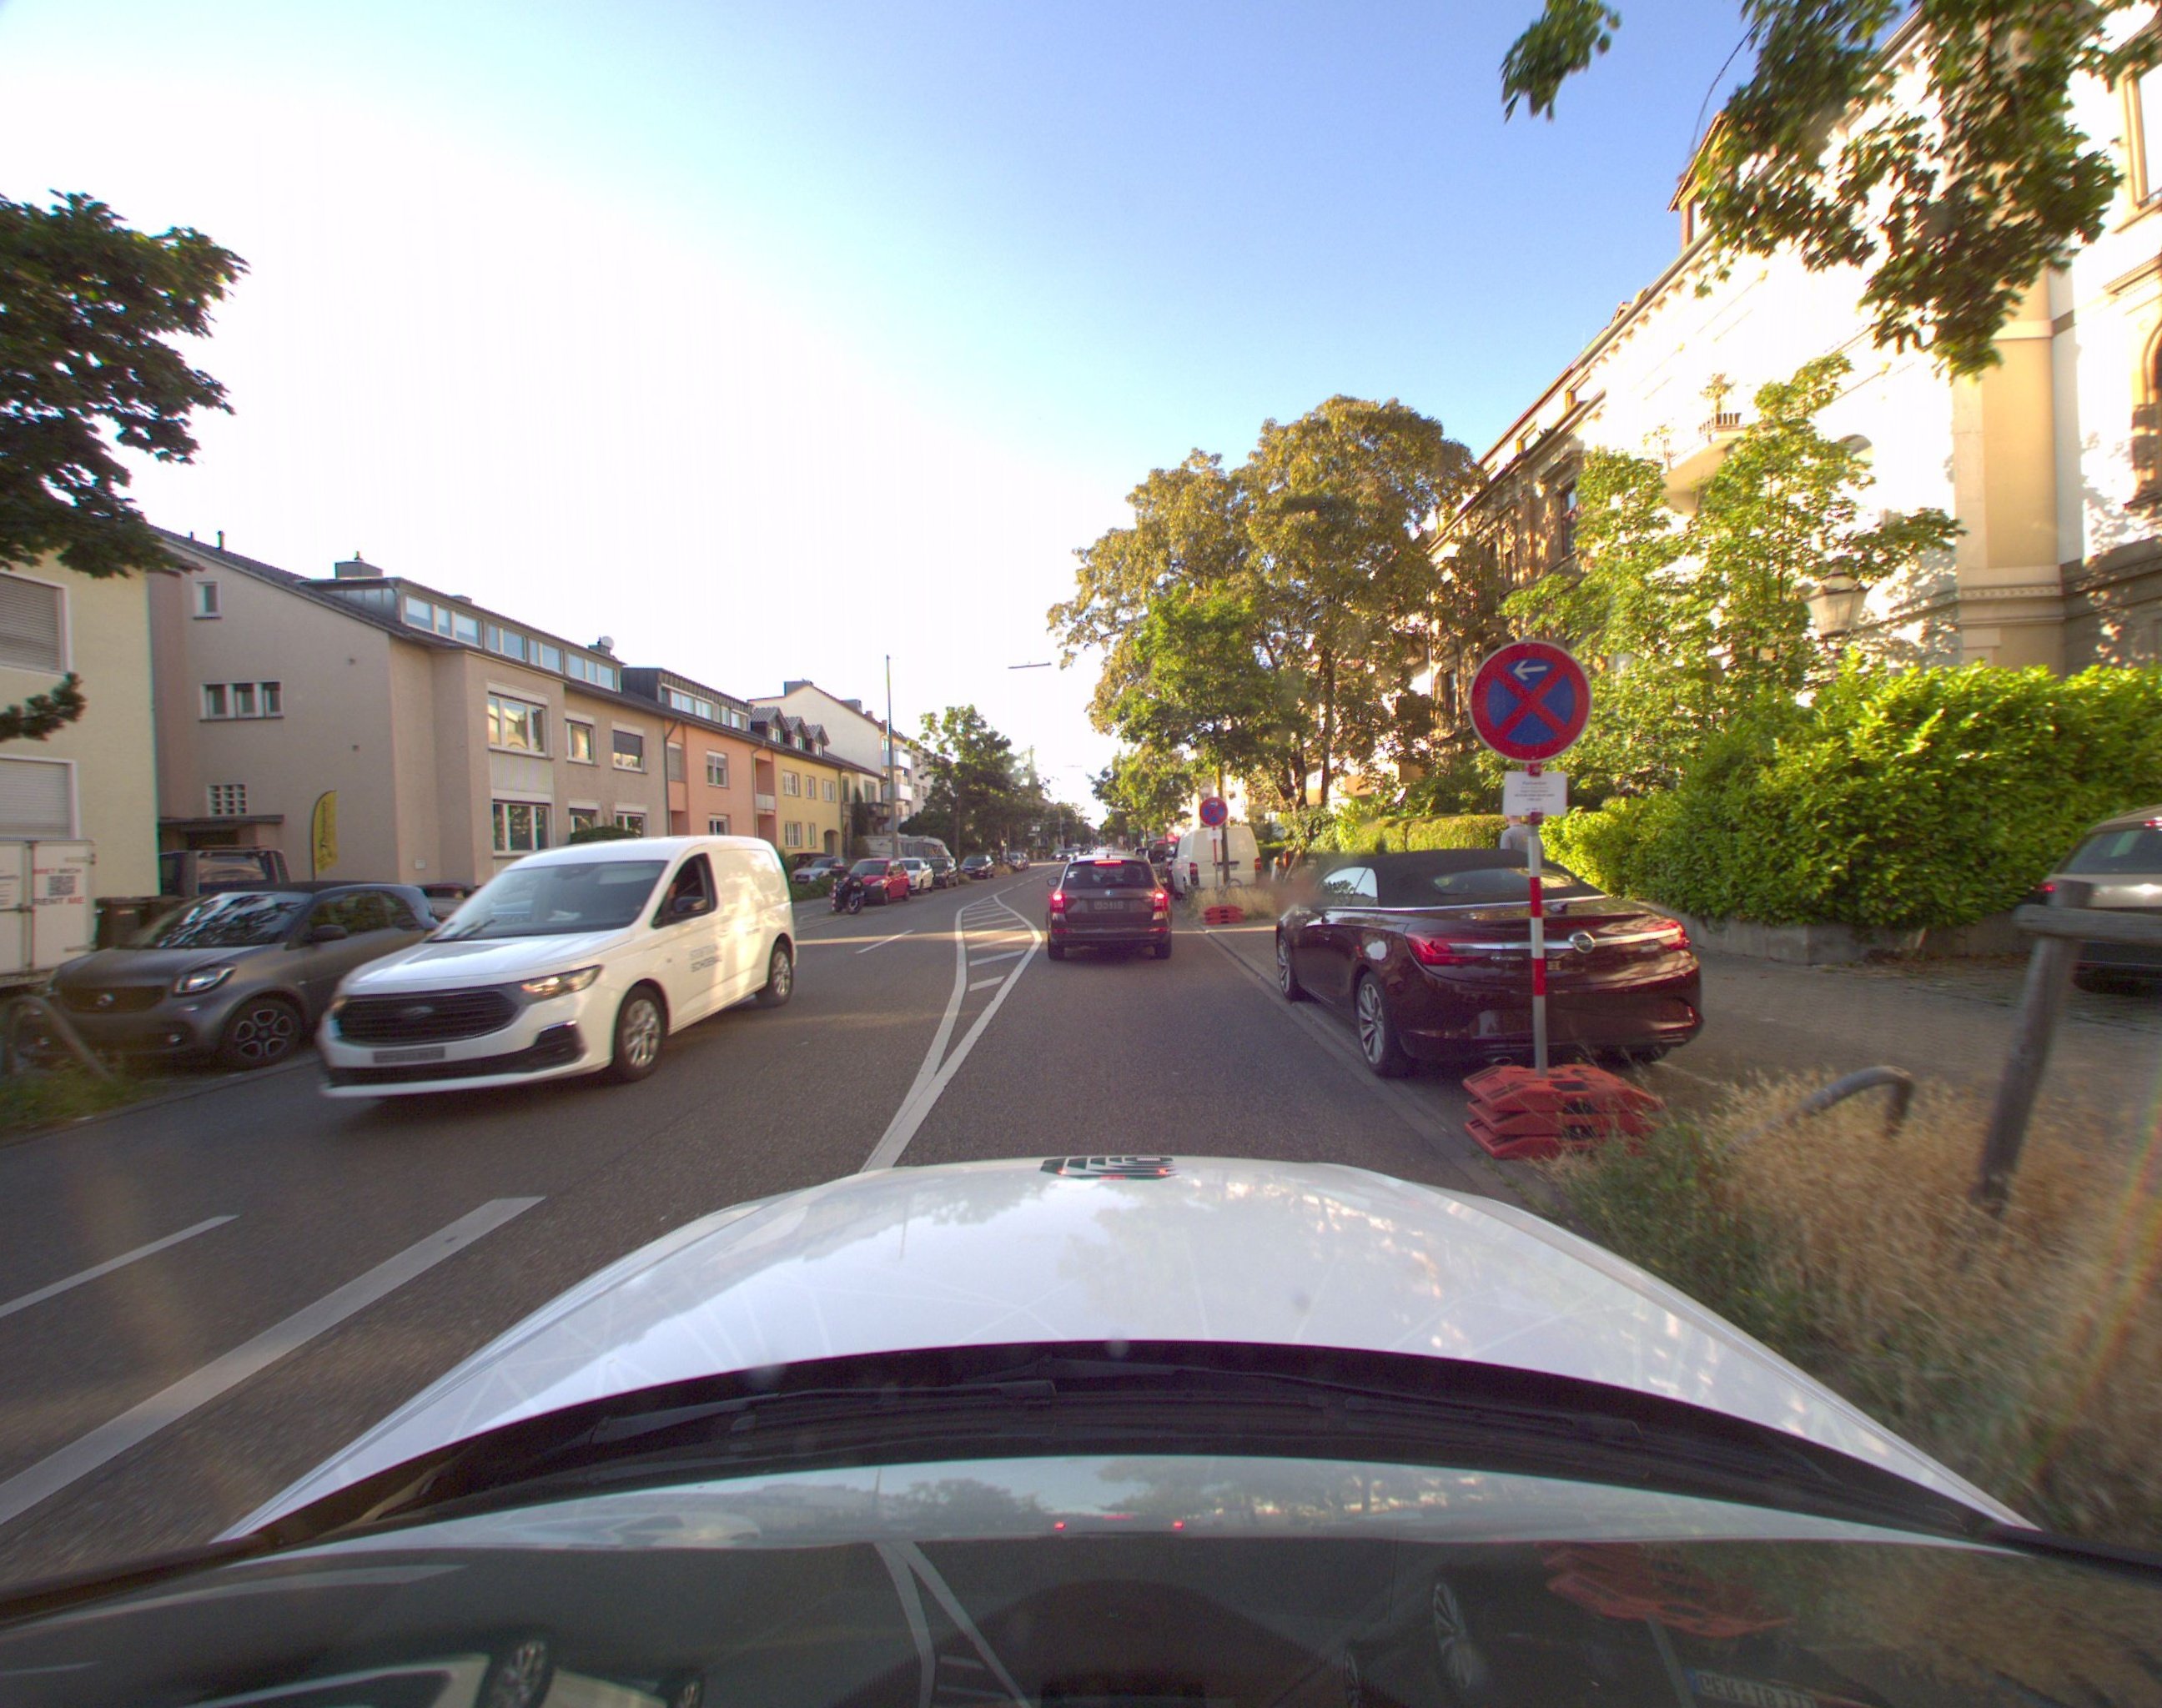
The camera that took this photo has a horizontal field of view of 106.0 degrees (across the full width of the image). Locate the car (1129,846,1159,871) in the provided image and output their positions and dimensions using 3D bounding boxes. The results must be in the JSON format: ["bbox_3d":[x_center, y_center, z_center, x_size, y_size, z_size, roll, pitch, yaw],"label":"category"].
[{"bbox_3d":[4.519,0.288,58.506,1.849,1.581,4.014,-4,0,1],"label":"car"}]

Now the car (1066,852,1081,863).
[{"bbox_3d":[-1.040,0.492,116.644,1.754,1.452,4.536,-4,0,2],"label":"car"}]

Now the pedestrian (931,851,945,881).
[{"bbox_3d":[-8.965,0.741,51.038,0.710,1.792,0.572,-2,0,4],"label":"pedestrian"}]

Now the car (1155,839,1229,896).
[{"bbox_3d":[3.594,0.399,27.144,1.849,1.603,4.312,-5,0,1],"label":"car"}]

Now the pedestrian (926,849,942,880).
[{"bbox_3d":[-8.582,0.604,47.629,0.710,1.792,0.506,-2,0,4],"label":"pedestrian"}]

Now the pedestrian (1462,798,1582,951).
[{"bbox_3d":[5.446,0.241,10.131,0.818,1.774,1.088,-2,0,-3],"label":"pedestrian"}]

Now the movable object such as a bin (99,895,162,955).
[{"bbox_3d":[-17.422,1.296,14.930,0.479,1.031,0.538,-2,0,2],"label":"movable object such as a bin"}]

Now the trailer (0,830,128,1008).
[{"bbox_3d":[-13.583,0.787,9.588,2.765,2.013,1.552,-2,0,-1],"label":"trailer"}]

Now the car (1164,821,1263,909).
[{"bbox_3d":[3.501,0.251,22.362,1.897,2.103,4.640,-2,0,0],"label":"car"}]

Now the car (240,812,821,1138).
[{"bbox_3d":[-3.973,0.705,7.051,1.882,1.803,4.431,-4,0,0],"label":"car"}]

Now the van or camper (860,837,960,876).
[{"bbox_3d":[-12.415,0.174,59.589,6.774,2.772,2.352,0,0,0],"label":"van or camper"}]

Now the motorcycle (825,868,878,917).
[{"bbox_3d":[-6.673,1.069,23.602,1.184,1.266,2.352,-3,0,-22],"label":"motorcycle"}]

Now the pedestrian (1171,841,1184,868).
[{"bbox_3d":[6.302,0.040,53.049,0.660,1.749,0.773,-4,0,2],"label":"pedestrian"}]

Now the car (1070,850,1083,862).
[{"bbox_3d":[-0.729,0.269,129.414,1.799,1.804,4.747,-4,0,1],"label":"car"}]

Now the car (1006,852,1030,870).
[{"bbox_3d":[-5.477,0.604,71.701,1.642,1.517,4.075,-1,0,2],"label":"car"}]

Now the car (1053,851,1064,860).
[{"bbox_3d":[-3.599,0.245,129.447,1.517,1.457,3.586,-2,0,2],"label":"car"}]

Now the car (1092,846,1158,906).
[{"bbox_3d":[1.219,0.563,23.357,1.730,1.571,4.001,0,0,1],"label":"car"}]

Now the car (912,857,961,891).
[{"bbox_3d":[-6.746,0.907,38.356,1.537,1.396,3.667,-2,0,1],"label":"car"}]

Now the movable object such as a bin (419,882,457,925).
[{"bbox_3d":[-17.043,1.308,21.598,0.487,1.090,0.586,-2,0,2],"label":"movable object such as a bin"}]

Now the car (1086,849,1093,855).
[{"bbox_3d":[2.486,-0.541,227.001,1.823,1.579,4.002,-3,0,2],"label":"car"}]

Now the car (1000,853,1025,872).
[{"bbox_3d":[-5.628,0.695,67.006,1.587,1.470,3.805,0,0,2],"label":"car"}]

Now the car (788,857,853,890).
[{"bbox_3d":[-12.457,0.902,39.182,1.658,1.409,3.756,-3,0,3],"label":"car"}]

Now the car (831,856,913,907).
[{"bbox_3d":[-6.944,0.868,27.421,1.586,1.523,3.440,-2,0,4],"label":"car"}]

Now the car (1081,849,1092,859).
[{"bbox_3d":[1.064,-0.040,161.823,1.986,1.908,4.965,-4,0,1],"label":"car"}]

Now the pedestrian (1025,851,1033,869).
[{"bbox_3d":[-5.944,0.689,92.679,0.777,1.987,0.821,-3,0,2],"label":"pedestrian"}]

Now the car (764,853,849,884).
[{"bbox_3d":[-14.918,0.795,44.409,3.971,1.636,1.867,0,0,2],"label":"car"}]

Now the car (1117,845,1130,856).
[{"bbox_3d":[6.938,-0.524,133.499,1.984,1.772,4.005,0,0,4],"label":"car"}]

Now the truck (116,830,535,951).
[{"bbox_3d":[-16.010,0.730,17.566,6.870,2.185,2.277,-2,0,1],"label":"truck"}]

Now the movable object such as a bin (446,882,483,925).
[{"bbox_3d":[-16.397,1.299,21.663,0.487,1.090,0.586,-2,0,2],"label":"movable object such as a bin"}]

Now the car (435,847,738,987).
[{"bbox_3d":[-7.517,0.823,13.105,1.881,1.779,4.726,-2,0,0],"label":"car"}]

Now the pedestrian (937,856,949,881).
[{"bbox_3d":[-8.530,0.874,50.305,0.587,1.495,0.543,-2,0,4],"label":"pedestrian"}]

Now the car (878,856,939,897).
[{"bbox_3d":[-7.060,0.882,33.589,1.587,1.523,3.891,-2,0,1],"label":"car"}]

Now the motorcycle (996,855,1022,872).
[{"bbox_3d":[-5.617,0.765,63.360,2.028,1.265,0.772,-2,0,40],"label":"motorcycle"}]

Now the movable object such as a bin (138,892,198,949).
[{"bbox_3d":[-17.388,1.262,15.514,0.479,1.031,0.551,-2,0,2],"label":"movable object such as a bin"}]

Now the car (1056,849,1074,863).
[{"bbox_3d":[-1.935,0.211,100.078,1.829,1.570,4.001,-4,0,1],"label":"car"}]

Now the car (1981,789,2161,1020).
[{"bbox_3d":[9.241,0.213,6.048,4.248,1.510,1.781,-4,1,-17],"label":"car"}]

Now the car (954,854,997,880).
[{"bbox_3d":[-6.464,0.790,50.332,1.860,1.494,4.519,-1,0,2],"label":"car"}]

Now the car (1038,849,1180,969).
[{"bbox_3d":[0.402,0.680,12.467,1.767,1.489,4.312,-1,0,1],"label":"car"}]

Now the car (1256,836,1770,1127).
[{"bbox_3d":[2.797,0.667,6.646,1.751,1.420,4.616,-4,0,1],"label":"car"}]

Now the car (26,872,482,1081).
[{"bbox_3d":[-7.689,1.016,7.955,1.567,1.555,2.750,-2,0,0],"label":"car"}]

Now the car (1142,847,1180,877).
[{"bbox_3d":[4.477,0.403,46.083,1.702,1.480,4.269,-4,0,1],"label":"car"}]
